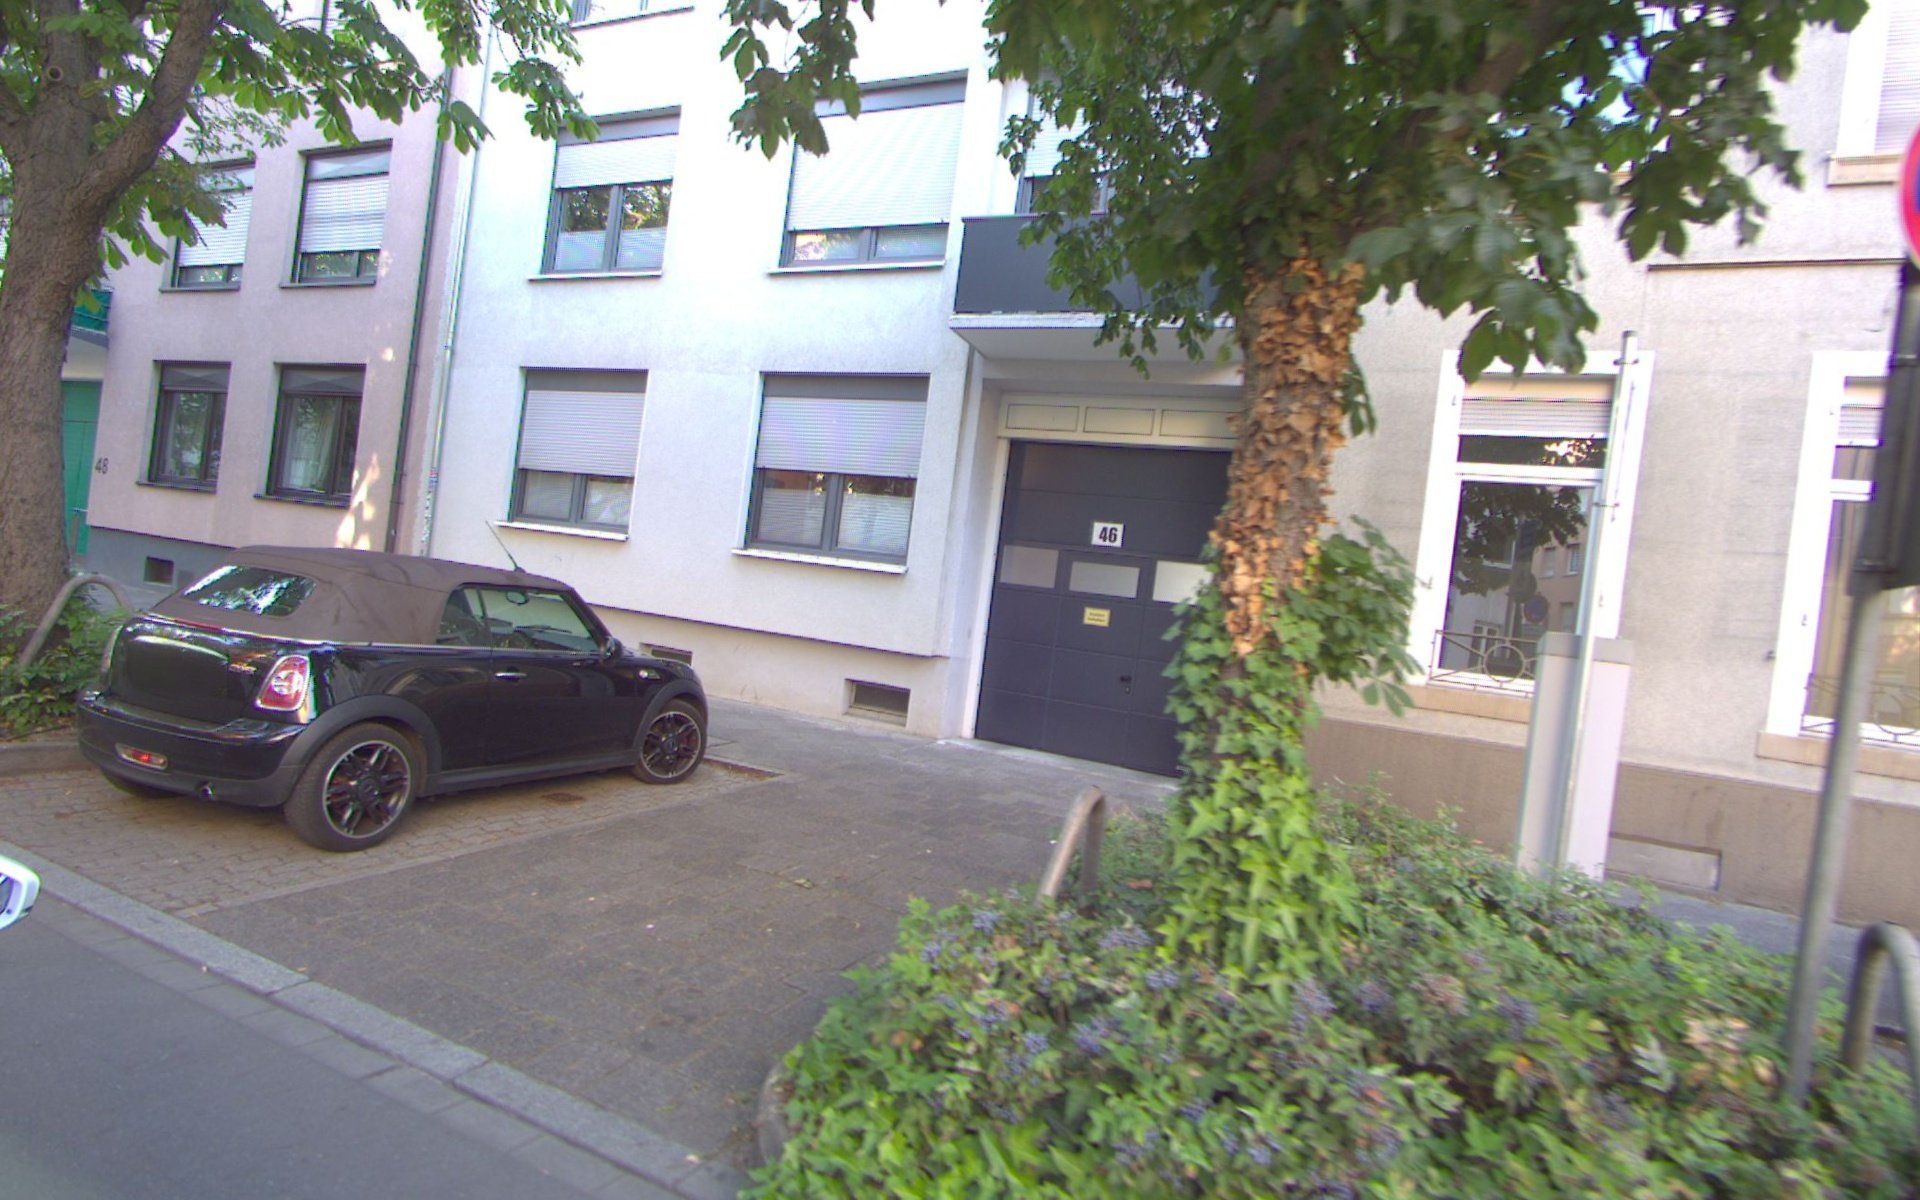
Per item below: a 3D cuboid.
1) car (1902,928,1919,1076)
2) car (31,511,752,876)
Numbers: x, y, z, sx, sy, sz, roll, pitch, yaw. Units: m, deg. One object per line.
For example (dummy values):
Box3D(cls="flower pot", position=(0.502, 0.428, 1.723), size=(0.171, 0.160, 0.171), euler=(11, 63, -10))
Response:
Box3D(cls="car", position=(4.360, 1.350, 2.583), size=(1.537, 1.494, 3.666), euler=(7, 0, 24))
Box3D(cls="car", position=(-3.075, 0.418, 6.340), size=(1.597, 1.446, 3.711), euler=(7, 2, 21))
